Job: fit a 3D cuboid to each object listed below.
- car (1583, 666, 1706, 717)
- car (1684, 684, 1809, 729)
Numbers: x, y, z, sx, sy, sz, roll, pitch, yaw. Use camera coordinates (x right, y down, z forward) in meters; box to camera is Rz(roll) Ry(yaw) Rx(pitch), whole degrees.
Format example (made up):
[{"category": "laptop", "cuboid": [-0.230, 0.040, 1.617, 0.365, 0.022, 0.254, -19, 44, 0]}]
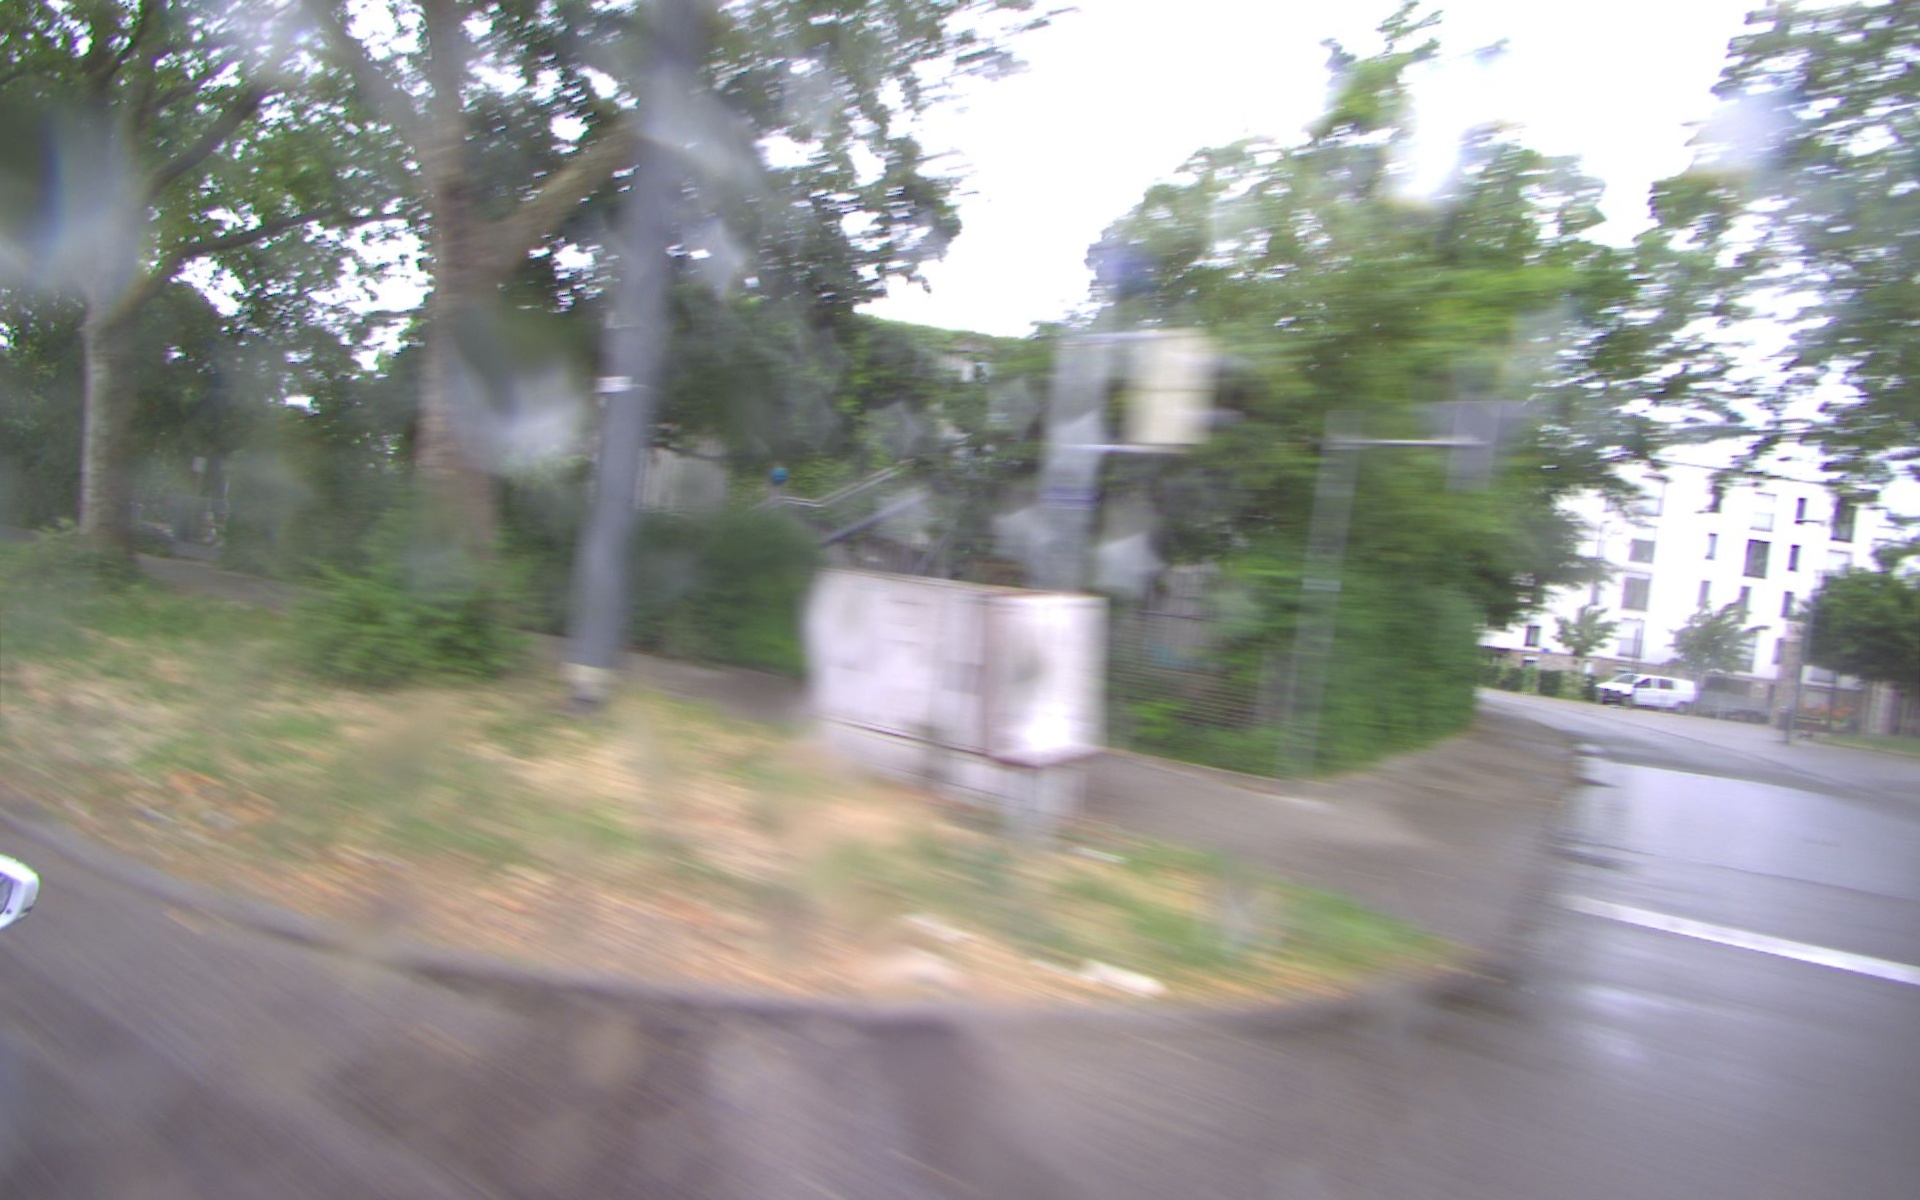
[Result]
[{"category": "car", "cuboid": [37.163, 4.928, 54.692, 5.044, 2.037, 2.255, 7, -1, -2]}, {"category": "car", "cuboid": [43.195, 5.831, 55.326, 5.044, 1.722, 2.255, 7, -1, -2]}]
